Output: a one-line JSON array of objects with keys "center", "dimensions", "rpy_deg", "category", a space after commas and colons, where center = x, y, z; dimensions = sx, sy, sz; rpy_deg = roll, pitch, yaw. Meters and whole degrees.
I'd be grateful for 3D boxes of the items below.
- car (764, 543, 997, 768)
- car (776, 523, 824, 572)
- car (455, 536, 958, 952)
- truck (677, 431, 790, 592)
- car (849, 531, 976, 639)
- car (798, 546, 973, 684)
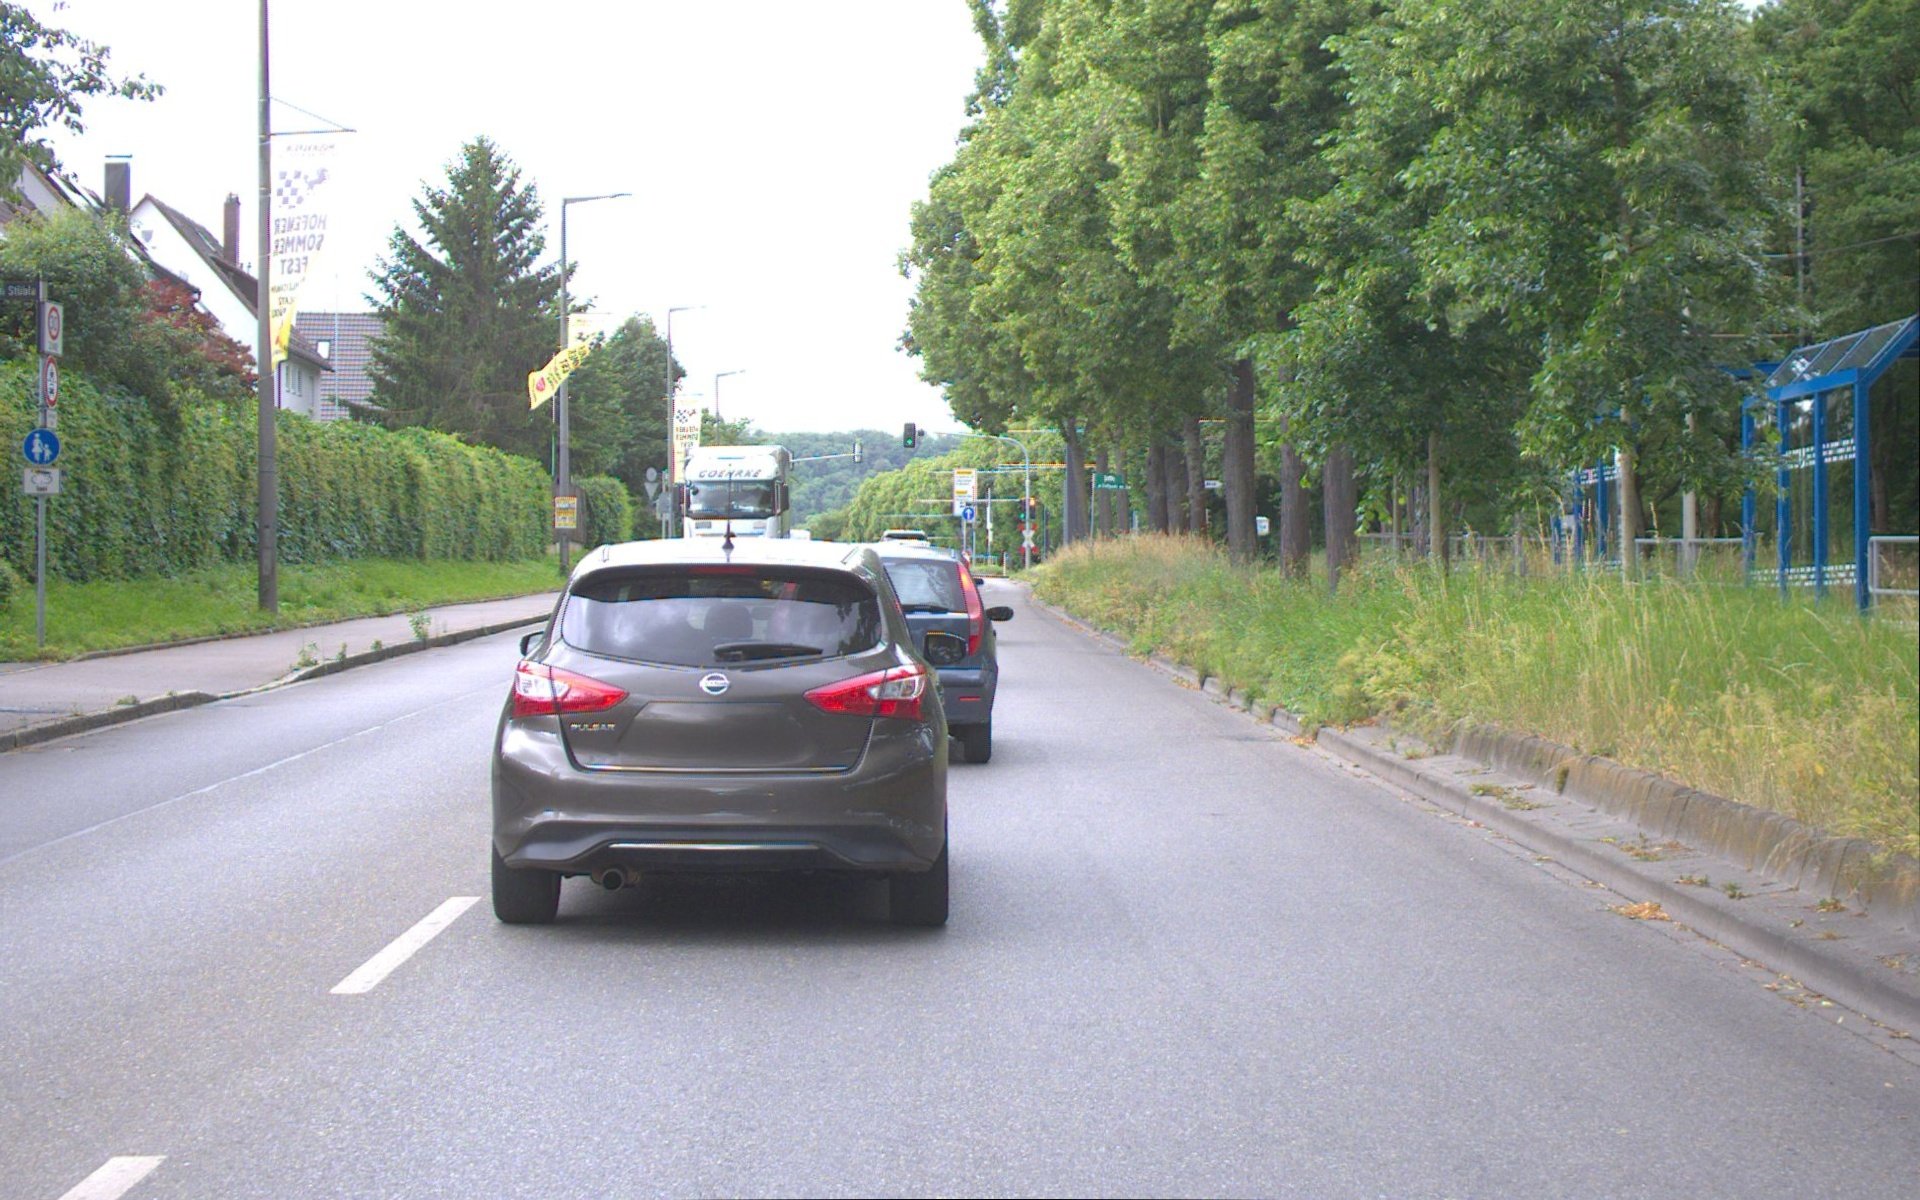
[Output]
[{"center": [-0.547, 0.334, 24.632], "dimensions": [1.538, 1.473, 3.764], "rpy_deg": [0, 1, -1], "category": "car"}, {"center": [-6.654, -2.197, 142.857], "dimensions": [1.906, 1.925, 4.912], "rpy_deg": [-1, 2, -3], "category": "car"}, {"center": [-0.952, 0.488, 14.828], "dimensions": [1.835, 1.514, 4.483], "rpy_deg": [0, 1, -1], "category": "car"}, {"center": [-6.039, -2.309, 92.992], "dimensions": [2.549, 4.030, 10.621], "rpy_deg": [-2, 1, -2], "category": "truck"}, {"center": [-0.689, -0.252, 50.696], "dimensions": [1.792, 1.533, 4.000], "rpy_deg": [0, 1, -1], "category": "car"}, {"center": [-0.788, 0.125, 37.400], "dimensions": [1.792, 1.392, 4.000], "rpy_deg": [0, 1, -1], "category": "car"}]
